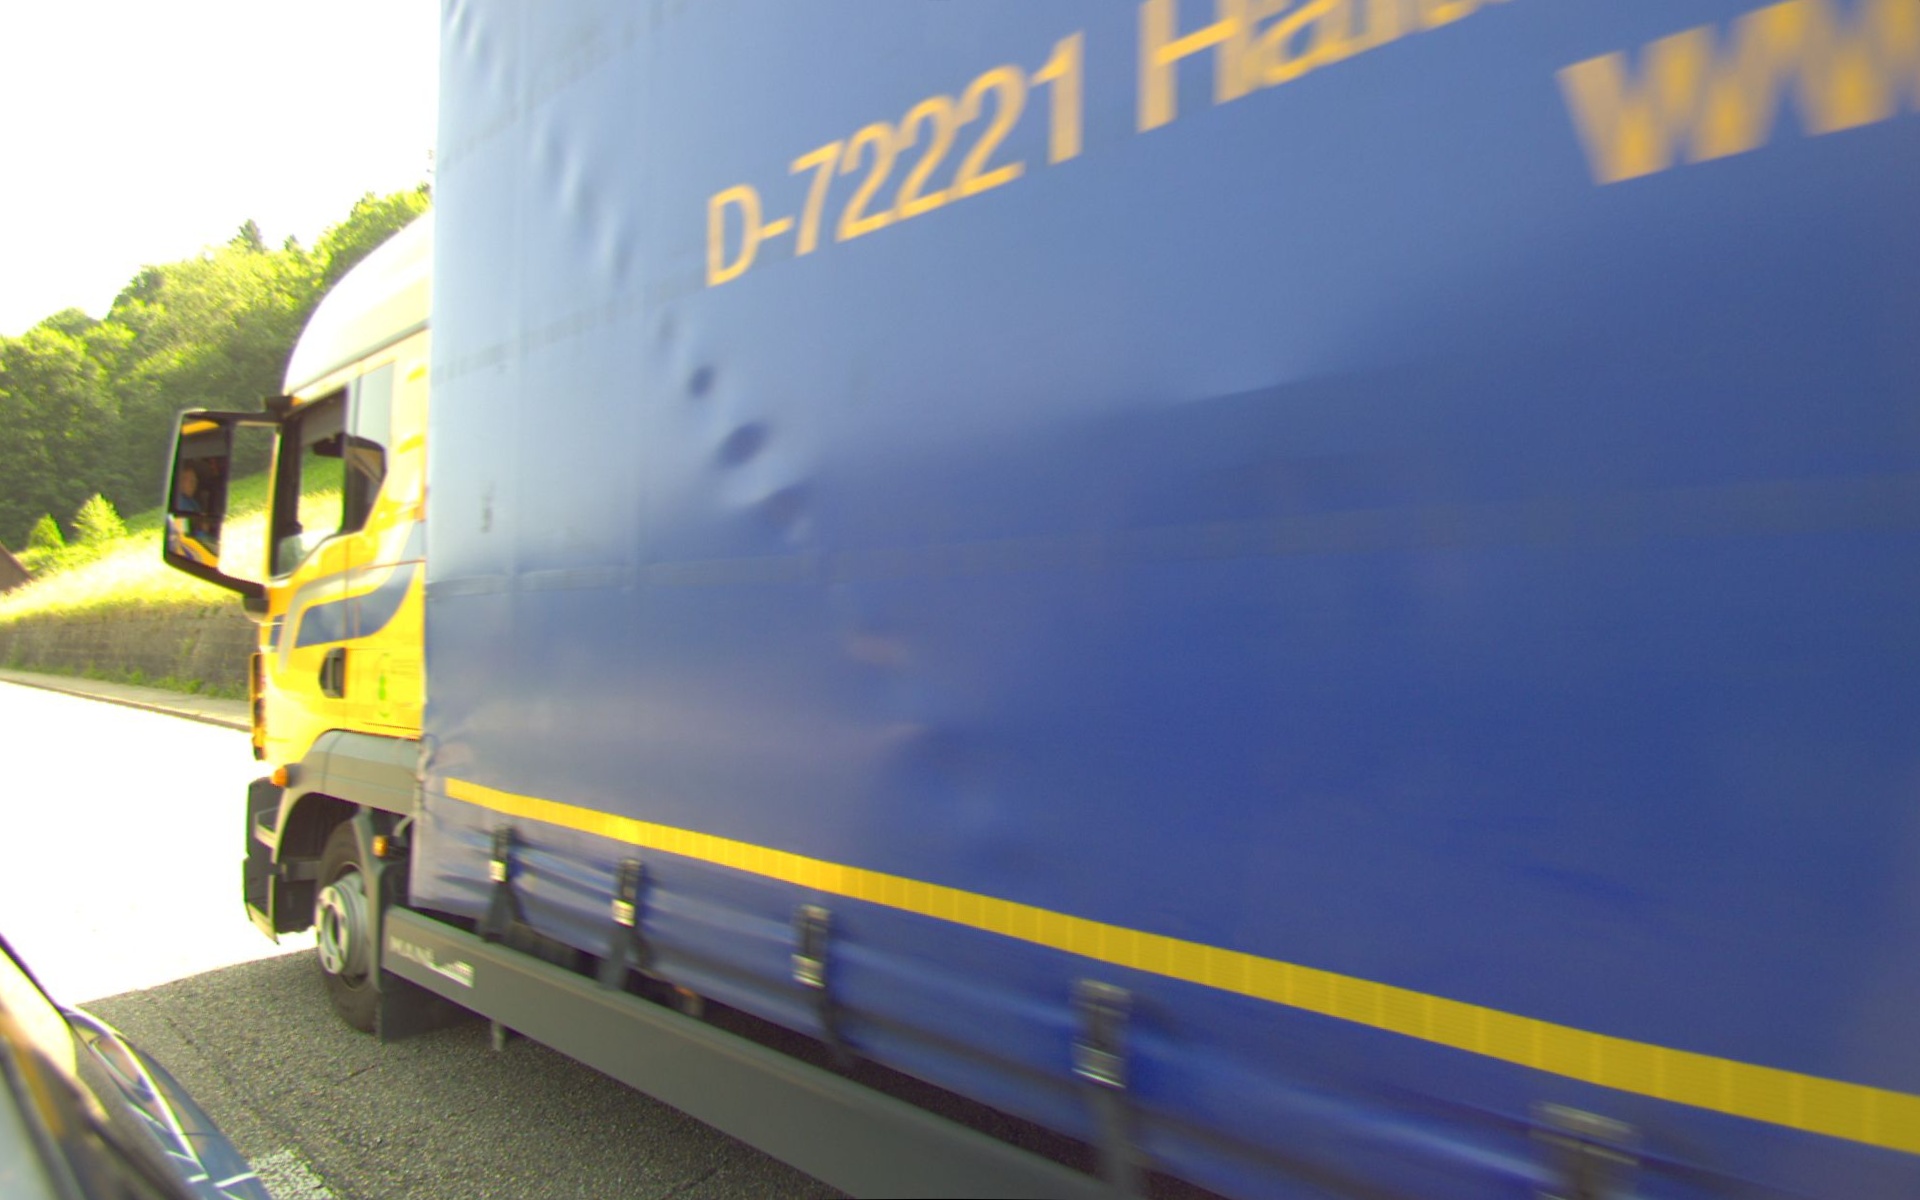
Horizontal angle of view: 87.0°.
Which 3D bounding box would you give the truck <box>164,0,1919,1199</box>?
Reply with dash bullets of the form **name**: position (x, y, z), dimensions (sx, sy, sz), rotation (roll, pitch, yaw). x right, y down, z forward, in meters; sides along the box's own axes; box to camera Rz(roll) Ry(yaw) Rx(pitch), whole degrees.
- **truck**: position (0.174, -0.838, 3.241), dimensions (6.569, 4.430, 3.155), rotation (-4, -2, 42)
